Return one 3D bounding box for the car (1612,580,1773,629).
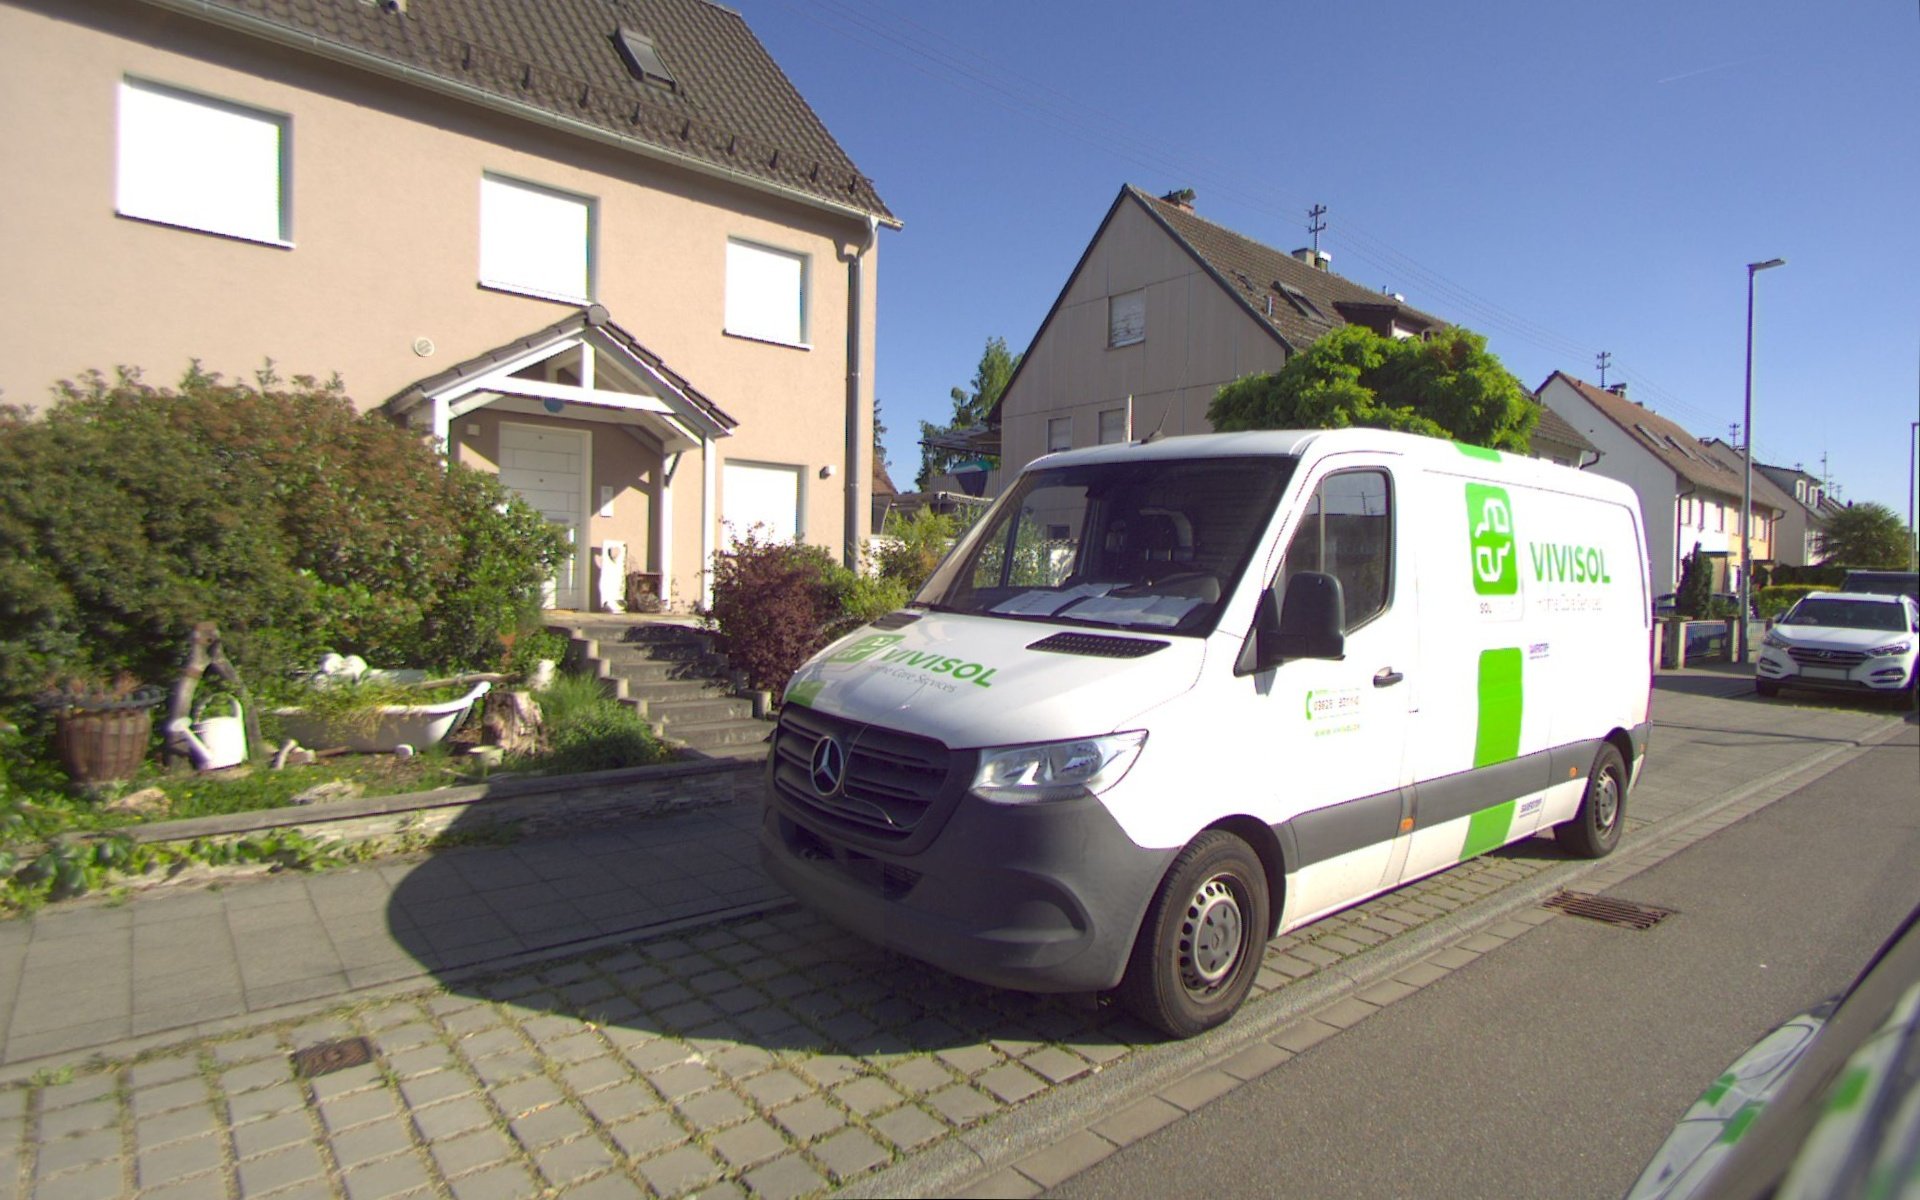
[{"bbox_3d":[26.615,0.115,36.863,2.160,1.675,4.419,-1,1,-43],"label":"car"}]

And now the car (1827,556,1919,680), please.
[{"bbox_3d":[18.716,0.292,19.723,5.242,2.170,1.964,-1,3,-41],"label":"car"}]

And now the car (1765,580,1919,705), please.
[{"bbox_3d":[14.302,0.554,15.935,4.243,1.665,1.729,-1,3,-41],"label":"car"}]

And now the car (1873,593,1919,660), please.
[{"bbox_3d":[23.605,0.613,24.148,5.513,1.461,1.857,0,3,-40],"label":"car"}]

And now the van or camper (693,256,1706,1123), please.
[{"bbox_3d":[1.893,0.165,5.456,6.194,2.298,1.998,-1,3,-40],"label":"van or camper"}]
